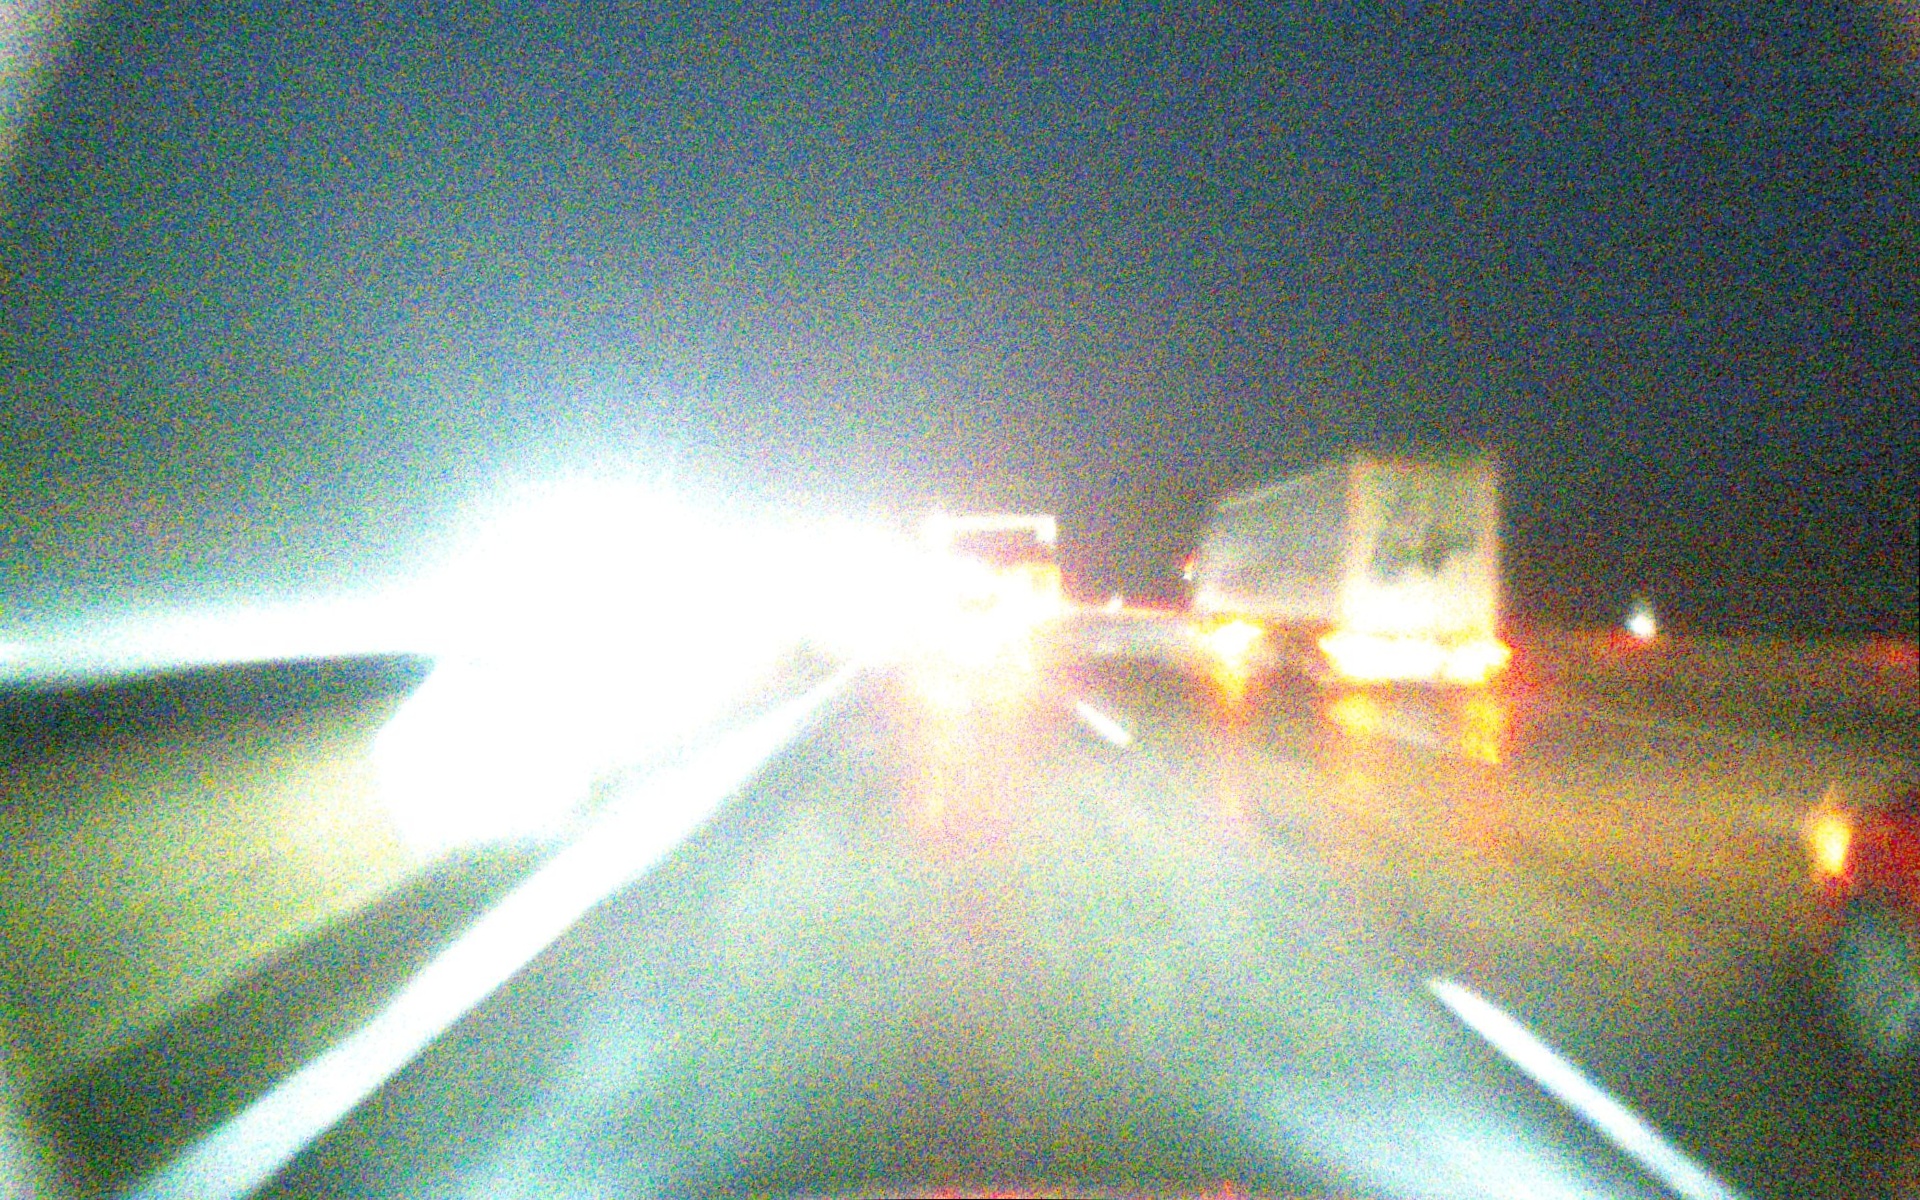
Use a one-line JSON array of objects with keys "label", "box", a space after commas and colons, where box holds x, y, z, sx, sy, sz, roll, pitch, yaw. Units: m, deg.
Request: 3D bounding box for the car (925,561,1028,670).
[{"label": "car", "box": [0.317, 0.333, 34.039, 1.953, 2.049, 3.999, 2, -1, 0]}]

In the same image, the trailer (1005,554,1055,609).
[{"label": "trailer", "box": [5.733, -1.407, 137.547, 2.980, 4.180, 13.822, -2, -1, -2]}]

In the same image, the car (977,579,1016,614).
[{"label": "car", "box": [2.223, -0.199, 101.781, 1.954, 2.049, 3.996, -2, -1, -4]}]

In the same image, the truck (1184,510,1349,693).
[{"label": "truck", "box": [7.507, 0.034, 41.274, 2.844, 4.180, 6.030, -1, 0, -1]}]

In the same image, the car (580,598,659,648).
[{"label": "car", "box": [-13.128, 0.860, 64.045, 1.953, 1.769, 5.235, 2, 0, -1]}]

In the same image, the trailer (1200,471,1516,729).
[{"label": "trailer", "box": [7.583, -0.006, 34.372, 2.844, 4.180, 14.485, -1, 0, -1]}]

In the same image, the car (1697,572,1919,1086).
[{"label": "car", "box": [3.858, 0.709, 4.432, 1.705, 1.603, 4.493, 0, 0, -1]}]
